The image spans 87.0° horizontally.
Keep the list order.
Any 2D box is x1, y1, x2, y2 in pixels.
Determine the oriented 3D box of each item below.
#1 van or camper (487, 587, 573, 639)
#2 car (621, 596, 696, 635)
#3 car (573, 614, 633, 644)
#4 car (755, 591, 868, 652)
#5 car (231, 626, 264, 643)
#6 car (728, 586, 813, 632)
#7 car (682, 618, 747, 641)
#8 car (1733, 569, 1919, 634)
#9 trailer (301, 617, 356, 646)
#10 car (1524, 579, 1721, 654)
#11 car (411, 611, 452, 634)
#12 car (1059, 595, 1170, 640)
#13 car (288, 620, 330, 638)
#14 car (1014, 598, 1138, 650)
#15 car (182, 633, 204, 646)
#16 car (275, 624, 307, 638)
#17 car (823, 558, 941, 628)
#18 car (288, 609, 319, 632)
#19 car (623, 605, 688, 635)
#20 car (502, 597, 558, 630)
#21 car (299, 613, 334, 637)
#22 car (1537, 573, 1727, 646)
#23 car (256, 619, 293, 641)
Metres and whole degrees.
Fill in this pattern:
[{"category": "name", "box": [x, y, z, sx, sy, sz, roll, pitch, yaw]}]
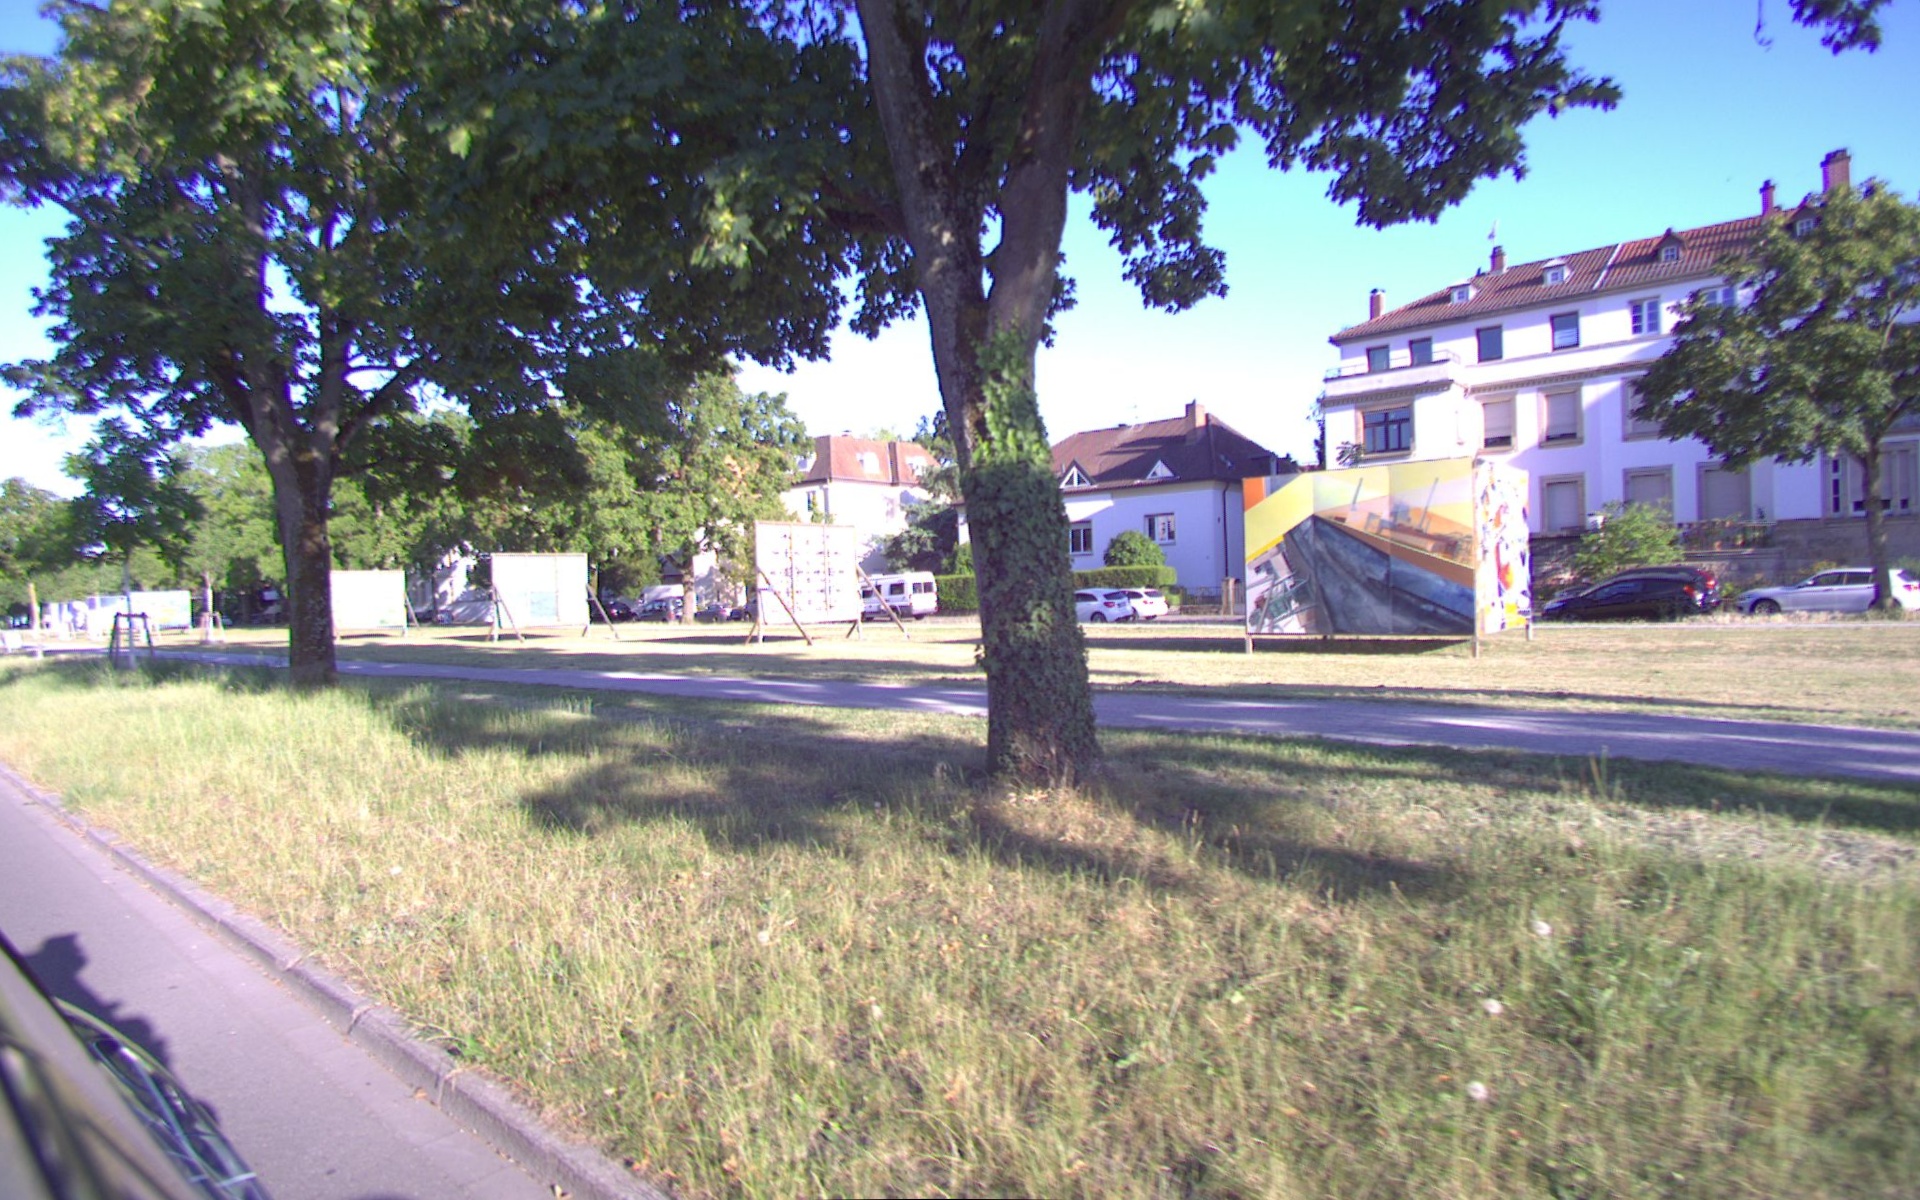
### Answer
[{"category": "van or camper", "box": [-29.226, 0.916, 68.712, 6.902, 3.287, 2.614, -3, -1, 42]}, {"category": "car", "box": [-20.989, 1.103, 70.252, 6.087, 2.617, 1.973, -1, -3, 41]}, {"category": "car", "box": [-26.364, 2.162, 74.625, 5.048, 2.019, 1.949, -3, 0, 42]}, {"category": "car", "box": [-7.381, 1.085, 49.992, 5.869, 2.847, 2.236, -1, -3, 42]}, {"category": "car", "box": [-79.600, 3.901, 113.064, 4.341, 1.742, 1.973, -3, -1, 40]}, {"category": "car", "box": [-11.516, 0.598, 61.425, 5.320, 2.624, 2.114, -1, -3, 39]}, {"category": "car", "box": [-15.910, 1.933, 65.484, 4.564, 1.413, 1.971, -2, -3, 45]}, {"category": "car", "box": [25.380, 0.092, 29.458, 4.459, 1.757, 1.802, -1, -3, 42]}, {"category": "trailer", "box": [-59.554, 2.978, 95.401, 6.632, 2.679, 2.448, -1, -3, 40]}, {"category": "car", "box": [18.204, 0.494, 27.929, 4.325, 1.931, 1.870, -1, -3, 41]}, {"category": "car", "box": [-49.304, 2.122, 94.396, 4.712, 1.927, 1.870, -3, -1, 42]}, {"category": "car", "box": [6.880, 0.808, 45.335, 4.711, 1.868, 1.712, -1, -3, 41]}, {"category": "car", "box": [-63.892, 2.875, 99.321, 4.947, 1.654, 1.974, -2, 1, 40]}, {"category": "car", "box": [4.517, 0.963, 39.861, 4.641, 1.914, 1.814, -1, -3, 42]}, {"category": "car", "box": [-97.846, 5.048, 129.133, 1.868, 1.534, 3.683, -1, -2, -43]}, {"category": "car", "box": [-67.916, 3.143, 102.690, 4.043, 1.325, 1.833, -2, 1, 44]}, {"category": "car", "box": [-4.332, -0.276, 54.966, 6.762, 3.586, 2.279, -1, -3, 41]}, {"category": "car", "box": [-76.431, 2.390, 117.829, 3.998, 2.560, 1.973, 0, 0, 41]}, {"category": "car", "box": [-17.580, 1.157, 58.328, 4.306, 1.576, 1.400, -2, 0, 40]}, {"category": "car", "box": [-29.226, 0.916, 68.712, 3.999, 2.029, 1.973, -3, -1, 42]}, {"category": "car", "box": [-72.834, 2.861, 114.577, 5.042, 2.660, 1.925, -1, -3, 41]}, {"category": "car", "box": [21.709, 0.361, 32.791, 4.853, 2.147, 2.214, -1, -3, 42]}, {"category": "car", "box": [-72.105, 3.169, 106.411, 4.565, 2.191, 1.974, -3, -1, 39]}]
